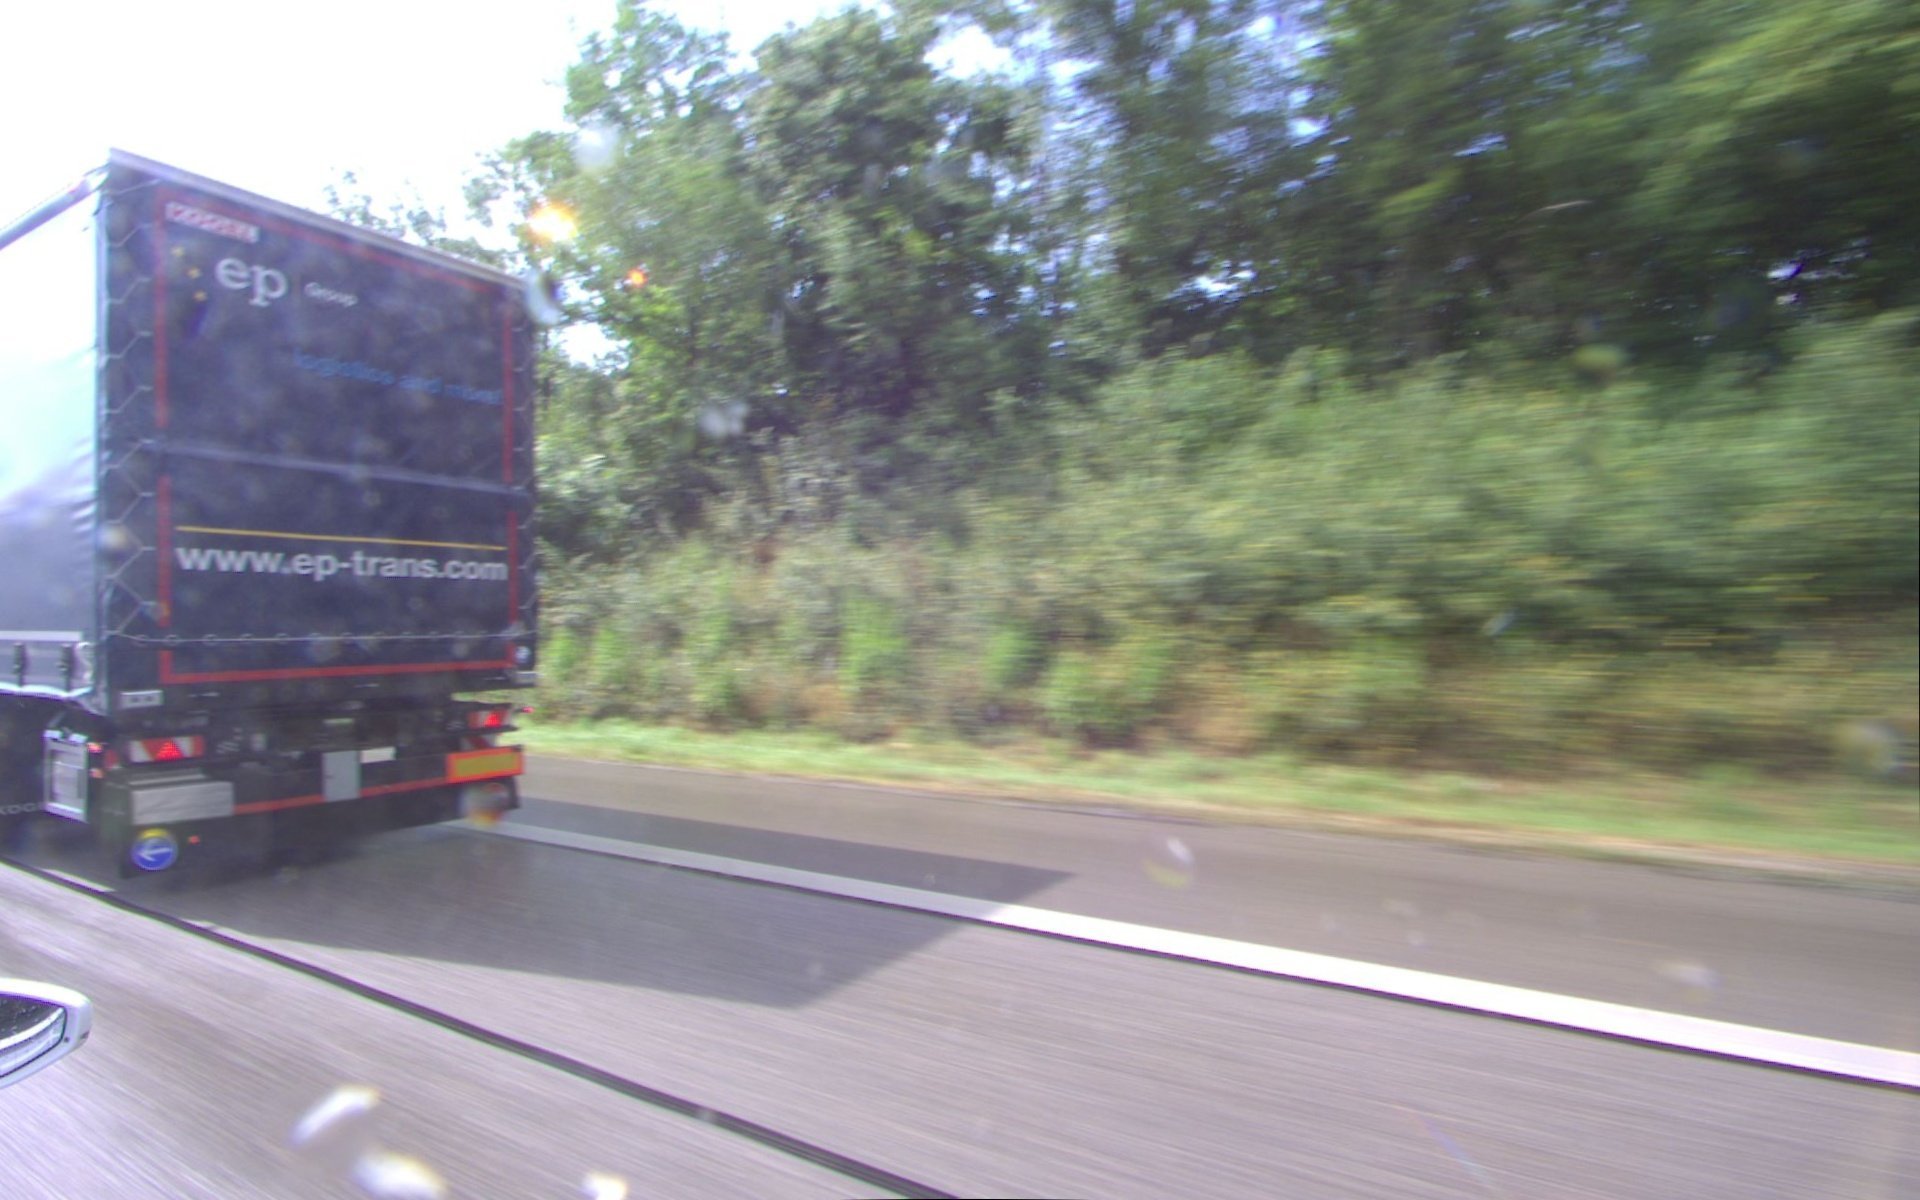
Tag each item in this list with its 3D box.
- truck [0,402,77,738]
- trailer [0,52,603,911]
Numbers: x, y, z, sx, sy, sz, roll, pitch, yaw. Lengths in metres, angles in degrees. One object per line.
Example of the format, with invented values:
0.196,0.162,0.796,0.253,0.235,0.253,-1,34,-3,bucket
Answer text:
-15.367,-0.344,13.988,5.802,4.380,3.047,-1,-2,32,truck
-9.408,-0.456,10.155,13.905,4.368,3.082,-1,-1,33,trailer
